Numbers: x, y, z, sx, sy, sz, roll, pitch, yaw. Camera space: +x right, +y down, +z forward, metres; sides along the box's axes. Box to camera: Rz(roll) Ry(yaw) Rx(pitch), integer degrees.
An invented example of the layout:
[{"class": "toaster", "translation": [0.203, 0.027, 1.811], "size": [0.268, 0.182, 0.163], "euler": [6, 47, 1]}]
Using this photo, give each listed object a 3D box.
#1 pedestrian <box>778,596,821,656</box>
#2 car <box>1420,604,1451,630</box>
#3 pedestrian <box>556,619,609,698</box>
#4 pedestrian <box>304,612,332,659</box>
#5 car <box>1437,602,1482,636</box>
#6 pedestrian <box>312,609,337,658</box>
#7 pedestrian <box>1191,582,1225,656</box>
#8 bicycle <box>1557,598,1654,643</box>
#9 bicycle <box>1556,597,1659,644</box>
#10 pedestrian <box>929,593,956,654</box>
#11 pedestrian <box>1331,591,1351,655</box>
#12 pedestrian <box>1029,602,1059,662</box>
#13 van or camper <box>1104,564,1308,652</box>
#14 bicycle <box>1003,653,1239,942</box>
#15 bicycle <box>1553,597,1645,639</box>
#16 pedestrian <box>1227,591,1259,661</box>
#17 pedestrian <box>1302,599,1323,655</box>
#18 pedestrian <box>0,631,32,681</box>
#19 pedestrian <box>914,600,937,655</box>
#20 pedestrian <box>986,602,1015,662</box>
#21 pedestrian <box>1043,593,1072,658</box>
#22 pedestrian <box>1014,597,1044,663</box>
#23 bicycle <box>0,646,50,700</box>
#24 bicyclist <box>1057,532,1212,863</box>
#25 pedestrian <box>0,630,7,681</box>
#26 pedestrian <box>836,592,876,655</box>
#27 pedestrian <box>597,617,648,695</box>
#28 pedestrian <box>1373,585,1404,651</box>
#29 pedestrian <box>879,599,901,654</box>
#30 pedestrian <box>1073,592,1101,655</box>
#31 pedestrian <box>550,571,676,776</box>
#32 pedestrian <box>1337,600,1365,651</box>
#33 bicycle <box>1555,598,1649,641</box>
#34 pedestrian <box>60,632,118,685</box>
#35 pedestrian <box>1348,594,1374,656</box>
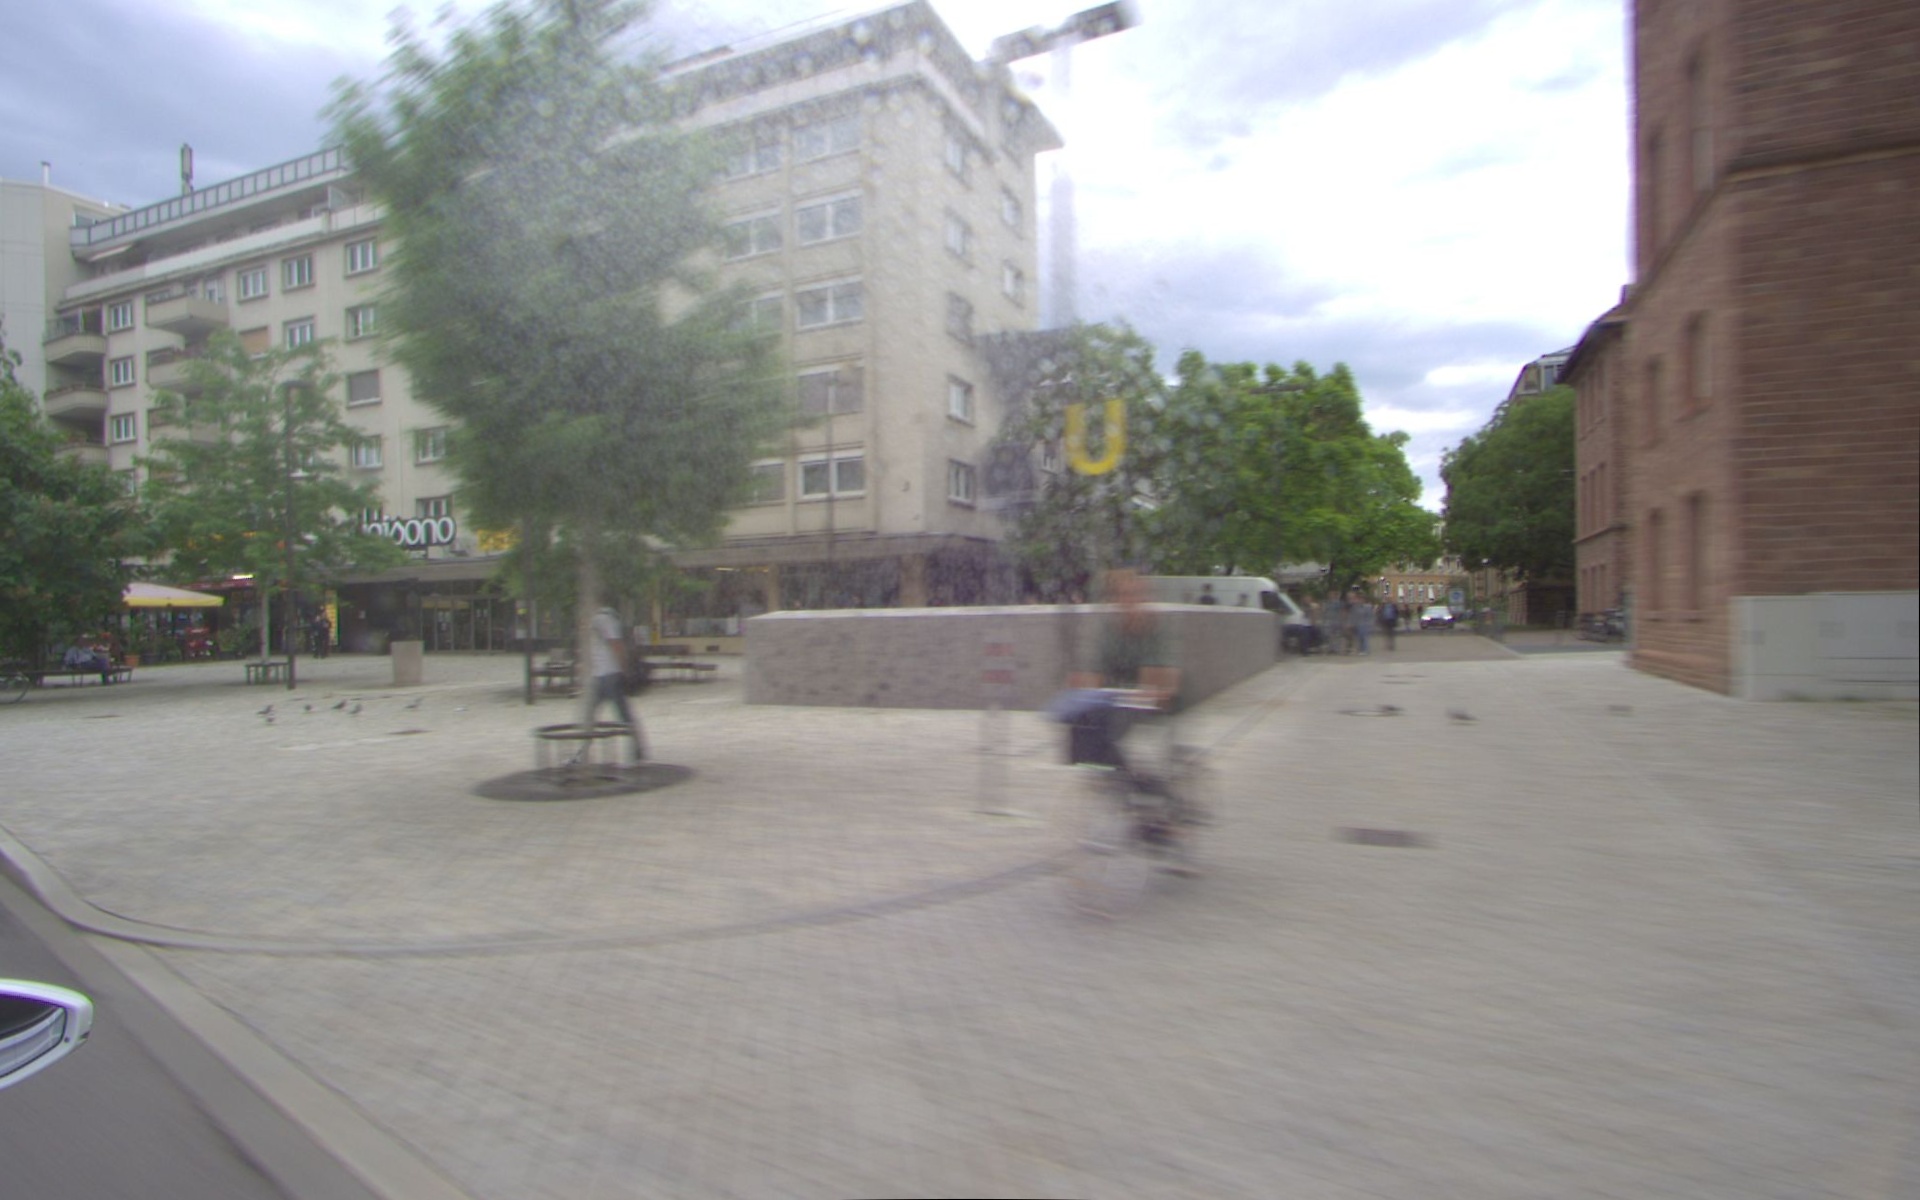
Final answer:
[{"class": "pedestrian", "translation": [-4.904, 0.787, 30.626], "size": [1.047, 1.796, 0.772], "euler": [-1, 1, 14]}, {"class": "car", "translation": [31.117, 1.156, 65.530], "size": [1.714, 1.629, 3.873], "euler": [-1, -2, 26]}, {"class": "pedestrian", "translation": [-7.471, 1.147, 19.843], "size": [0.753, 1.475, 0.779], "euler": [-2, 2, -5]}, {"class": "pedestrian", "translation": [-24.852, 1.358, 38.782], "size": [0.764, 1.775, 0.714], "euler": [-2, 2, -27]}, {"class": "car", "translation": [24.406, 0.971, 49.017], "size": [1.774, 1.582, 3.987], "euler": [-1, -2, 24]}, {"class": "pedestrian", "translation": [-25.491, 1.341, 40.168], "size": [0.764, 1.909, 0.849], "euler": [0, -2, -27]}, {"class": "pedestrian", "translation": [5.740, 0.435, 23.139], "size": [0.509, 1.693, 0.586], "euler": [-1, 1, -44]}, {"class": "bicycle", "translation": [21.107, 0.692, 32.802], "size": [2.624, 1.417, 0.586], "euler": [-1, 0, 34]}, {"class": "bicycle", "translation": [20.018, 0.646, 31.016], "size": [2.624, 1.417, 0.586], "euler": [-1, 0, 34]}, {"class": "pedestrian", "translation": [-0.524, 0.702, 29.837], "size": [0.583, 1.792, 0.640], "euler": [0, 1, -30]}, {"class": "pedestrian", "translation": [11.480, 0.700, 30.171], "size": [0.525, 1.913, 0.663], "euler": [-1, -2, 20]}, {"class": "pedestrian", "translation": [2.398, 0.904, 28.557], "size": [0.585, 1.693, 0.637], "euler": [1, 1, 45]}, {"class": "van or camper", "translation": [8.279, 0.355, 33.875], "size": [6.453, 2.754, 1.995], "euler": [-1, -2, 25]}, {"class": "bicycle", "translation": [0.982, 0.972, 5.622], "size": [0.517, 1.276, 1.930], "euler": [-1, -1, 34]}, {"class": "bicycle", "translation": [22.011, 0.630, 34.537], "size": [2.624, 1.417, 0.586], "euler": [-1, 0, 34]}, {"class": "pedestrian", "translation": [6.980, 0.637, 24.735], "size": [0.509, 1.693, 0.586], "euler": [-1, 1, -44]}, {"class": "pedestrian", "translation": [10.720, 0.824, 30.428], "size": [0.524, 1.699, 0.663], "euler": [-1, -2, 15]}, {"class": "pedestrian", "translation": [-26.467, 1.558, 28.065], "size": [1.266, 1.383, 0.540], "euler": [-2, -2, 42]}, {"class": "pedestrian", "translation": [-1.016, 0.804, 29.304], "size": [0.631, 1.607, 0.591], "euler": [0, 1, -8]}, {"class": "pedestrian", "translation": [1.159, 0.902, 28.603], "size": [0.584, 1.693, 0.638], "euler": [1, 1, 40]}, {"class": "pedestrian", "translation": [2.543, 0.656, 26.139], "size": [0.509, 1.693, 0.585], "euler": [-1, 1, -45]}, {"class": "pedestrian", "translation": [1.801, 0.775, 26.073], "size": [0.509, 1.693, 0.585], "euler": [-1, 1, -45]}, {"class": "bicycle", "translation": [-20.562, 1.543, 21.134], "size": [0.636, 1.137, 1.909], "euler": [-2, -2, 35]}, {"class": "bicyclist", "translation": [0.995, 0.518, 5.650], "size": [0.563, 1.705, 0.789], "euler": [-1, -1, 35]}, {"class": "pedestrian", "translation": [-26.379, 1.515, 27.195], "size": [0.909, 1.383, 0.625], "euler": [-2, -2, 42]}, {"class": "pedestrian", "translation": [-3.223, 0.719, 31.095], "size": [1.046, 1.927, 0.772], "euler": [-1, 1, 7]}, {"class": "pedestrian", "translation": [-6.685, 1.097, 19.863], "size": [0.753, 1.475, 0.779], "euler": [-2, 2, -5]}, {"class": "pedestrian", "translation": [13.553, 0.579, 31.666], "size": [0.808, 2.039, 0.757], "euler": [-1, -2, 27]}, {"class": "pedestrian", "translation": [-2.099, 0.790, 29.996], "size": [0.631, 1.607, 0.591], "euler": [0, 1, -8]}, {"class": "pedestrian", "translation": [3.461, 0.628, 27.346], "size": [0.509, 1.693, 0.586], "euler": [-1, 1, -42]}, {"class": "pedestrian", "translation": [-3.428, 0.690, 9.948], "size": [0.760, 1.927, 0.869], "euler": [-1, 1, 23]}, {"class": "pedestrian", "translation": [12.758, 0.827, 32.672], "size": [0.652, 1.642, 0.533], "euler": [0, -1, -15]}, {"class": "bicycle", "translation": [21.525, 0.660, 33.648], "size": [2.624, 1.417, 0.586], "euler": [-1, 0, 34]}, {"class": "pedestrian", "translation": [-23.271, 1.551, 26.756], "size": [1.386, 1.383, 0.628], "euler": [-1, -2, 24]}, {"class": "pedestrian", "translation": [11.705, 0.727, 29.244], "size": [0.620, 1.780, 0.663], "euler": [-1, -1, 15]}]
